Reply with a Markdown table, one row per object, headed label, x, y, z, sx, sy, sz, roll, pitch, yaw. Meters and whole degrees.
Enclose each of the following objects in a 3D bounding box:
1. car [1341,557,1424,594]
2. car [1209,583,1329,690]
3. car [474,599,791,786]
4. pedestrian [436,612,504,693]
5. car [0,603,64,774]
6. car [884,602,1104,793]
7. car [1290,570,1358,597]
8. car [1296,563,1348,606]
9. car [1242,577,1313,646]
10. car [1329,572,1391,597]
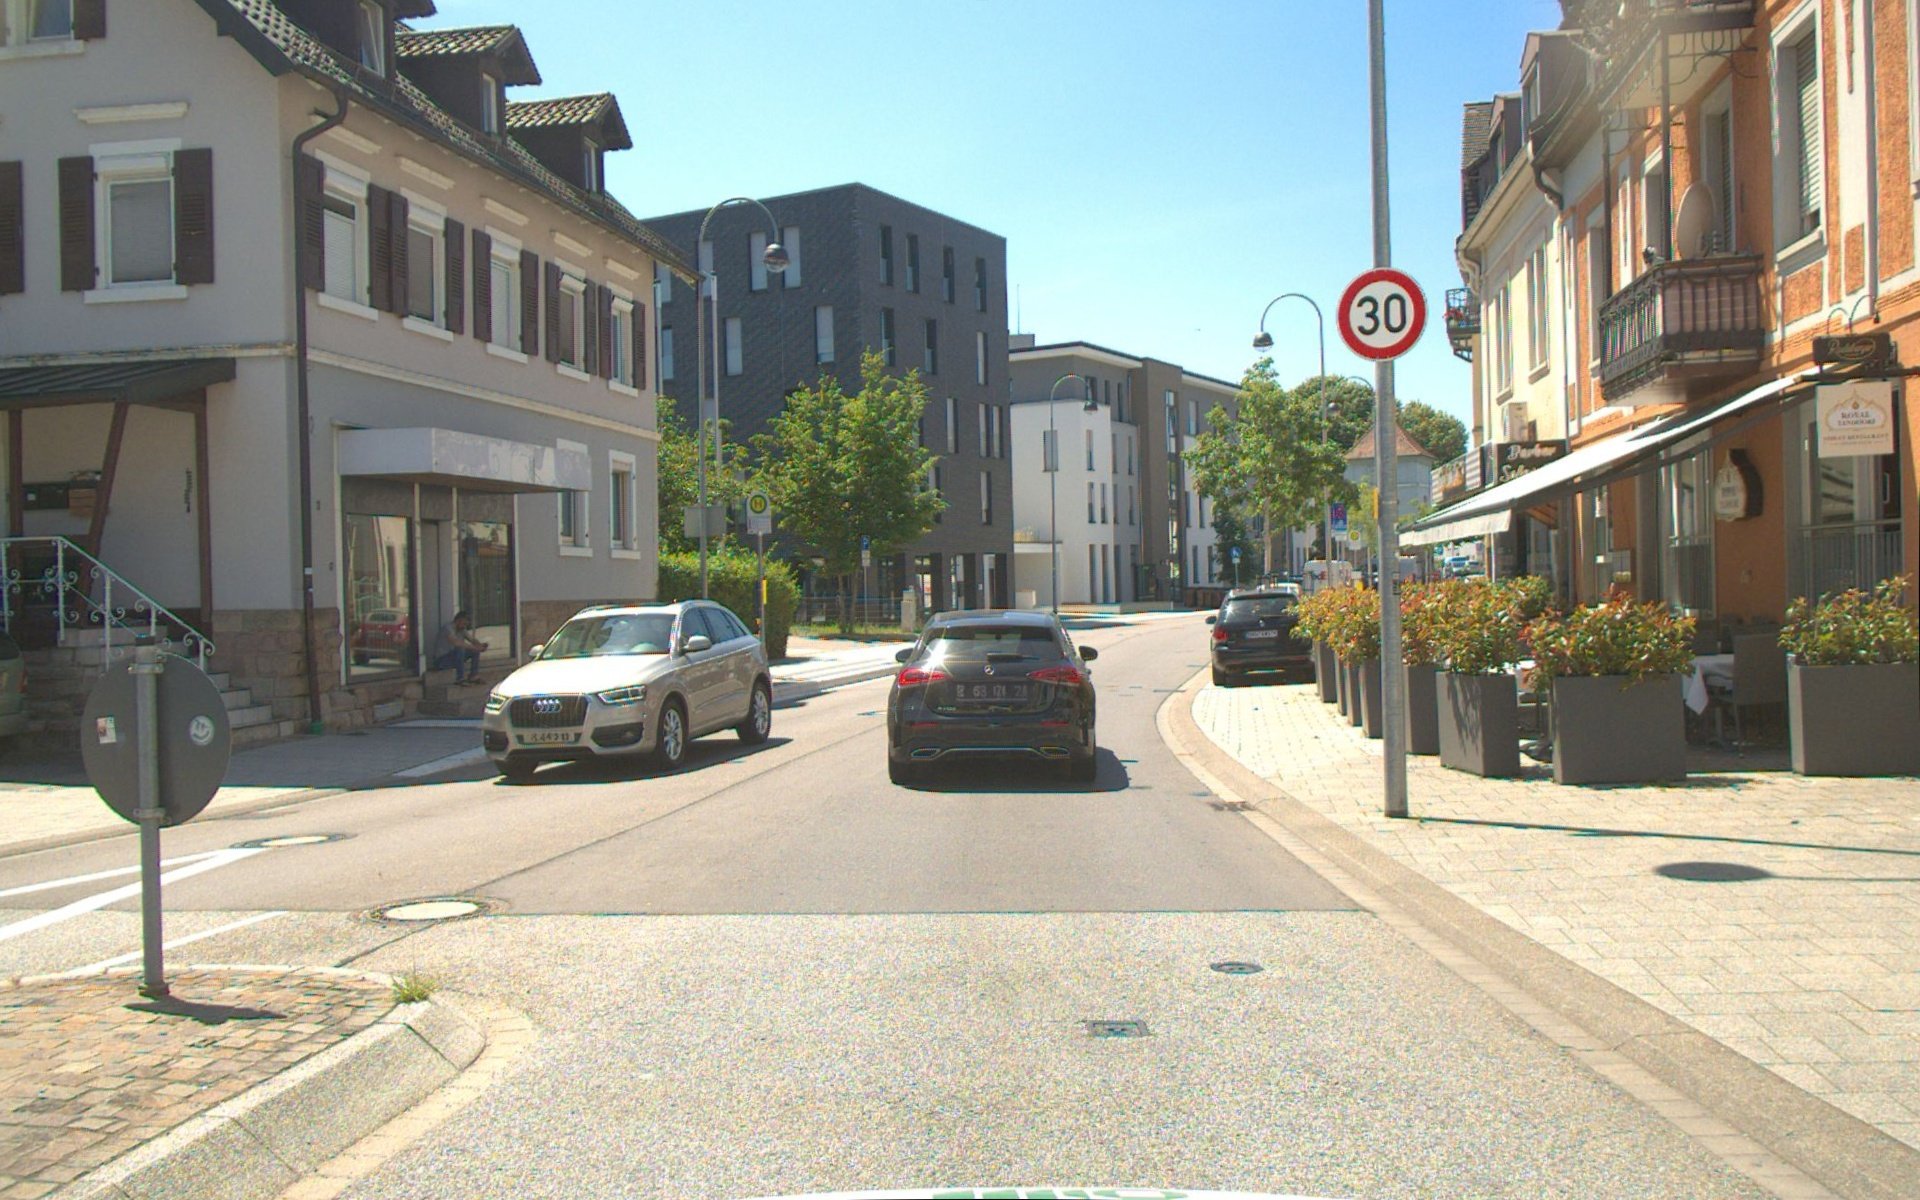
| label | x | y | z | sx | sy | sz | roll | pitch | yaw |
| --- | --- | --- | --- | --- | --- | --- | --- | --- | --- |
| car | 31.738 | -1.857 | 124.174 | 5.540 | 2.624 | 2.509 | -1 | 0 | 32 |
| car | 5.144 | 0.543 | 27.527 | 1.713 | 1.511 | 4.004 | -5 | 0 | 11 |
| car | -3.196 | 0.848 | 17.015 | 1.639 | 1.569 | 4.087 | -3 | 0 | 12 |
| pedestrian | -6.750 | 0.716 | 22.793 | 0.655 | 1.073 | 0.700 | -1 | 0 | 6 |
| car | -11.354 | 0.912 | 16.580 | 3.901 | 1.668 | 1.759 | -1 | 0 | 11 |
| car | 0.400 | 0.779 | 15.387 | 1.726 | 1.483 | 4.440 | -1 | 0 | 3 |
| car | 23.877 | -1.070 | 108.394 | 3.913 | 1.691 | 1.996 | -1 | 0 | 31 |
| car | 17.846 | -0.772 | 81.392 | 1.952 | 2.049 | 4.001 | -1 | 0 | 20 |
| car | 7.823 | 0.266 | 40.920 | 1.571 | 1.556 | 3.495 | -3 | 0 | 10 |
| car | 28.988 | -1.130 | 119.824 | 3.913 | 1.691 | 1.996 | -1 | 0 | 31 |
